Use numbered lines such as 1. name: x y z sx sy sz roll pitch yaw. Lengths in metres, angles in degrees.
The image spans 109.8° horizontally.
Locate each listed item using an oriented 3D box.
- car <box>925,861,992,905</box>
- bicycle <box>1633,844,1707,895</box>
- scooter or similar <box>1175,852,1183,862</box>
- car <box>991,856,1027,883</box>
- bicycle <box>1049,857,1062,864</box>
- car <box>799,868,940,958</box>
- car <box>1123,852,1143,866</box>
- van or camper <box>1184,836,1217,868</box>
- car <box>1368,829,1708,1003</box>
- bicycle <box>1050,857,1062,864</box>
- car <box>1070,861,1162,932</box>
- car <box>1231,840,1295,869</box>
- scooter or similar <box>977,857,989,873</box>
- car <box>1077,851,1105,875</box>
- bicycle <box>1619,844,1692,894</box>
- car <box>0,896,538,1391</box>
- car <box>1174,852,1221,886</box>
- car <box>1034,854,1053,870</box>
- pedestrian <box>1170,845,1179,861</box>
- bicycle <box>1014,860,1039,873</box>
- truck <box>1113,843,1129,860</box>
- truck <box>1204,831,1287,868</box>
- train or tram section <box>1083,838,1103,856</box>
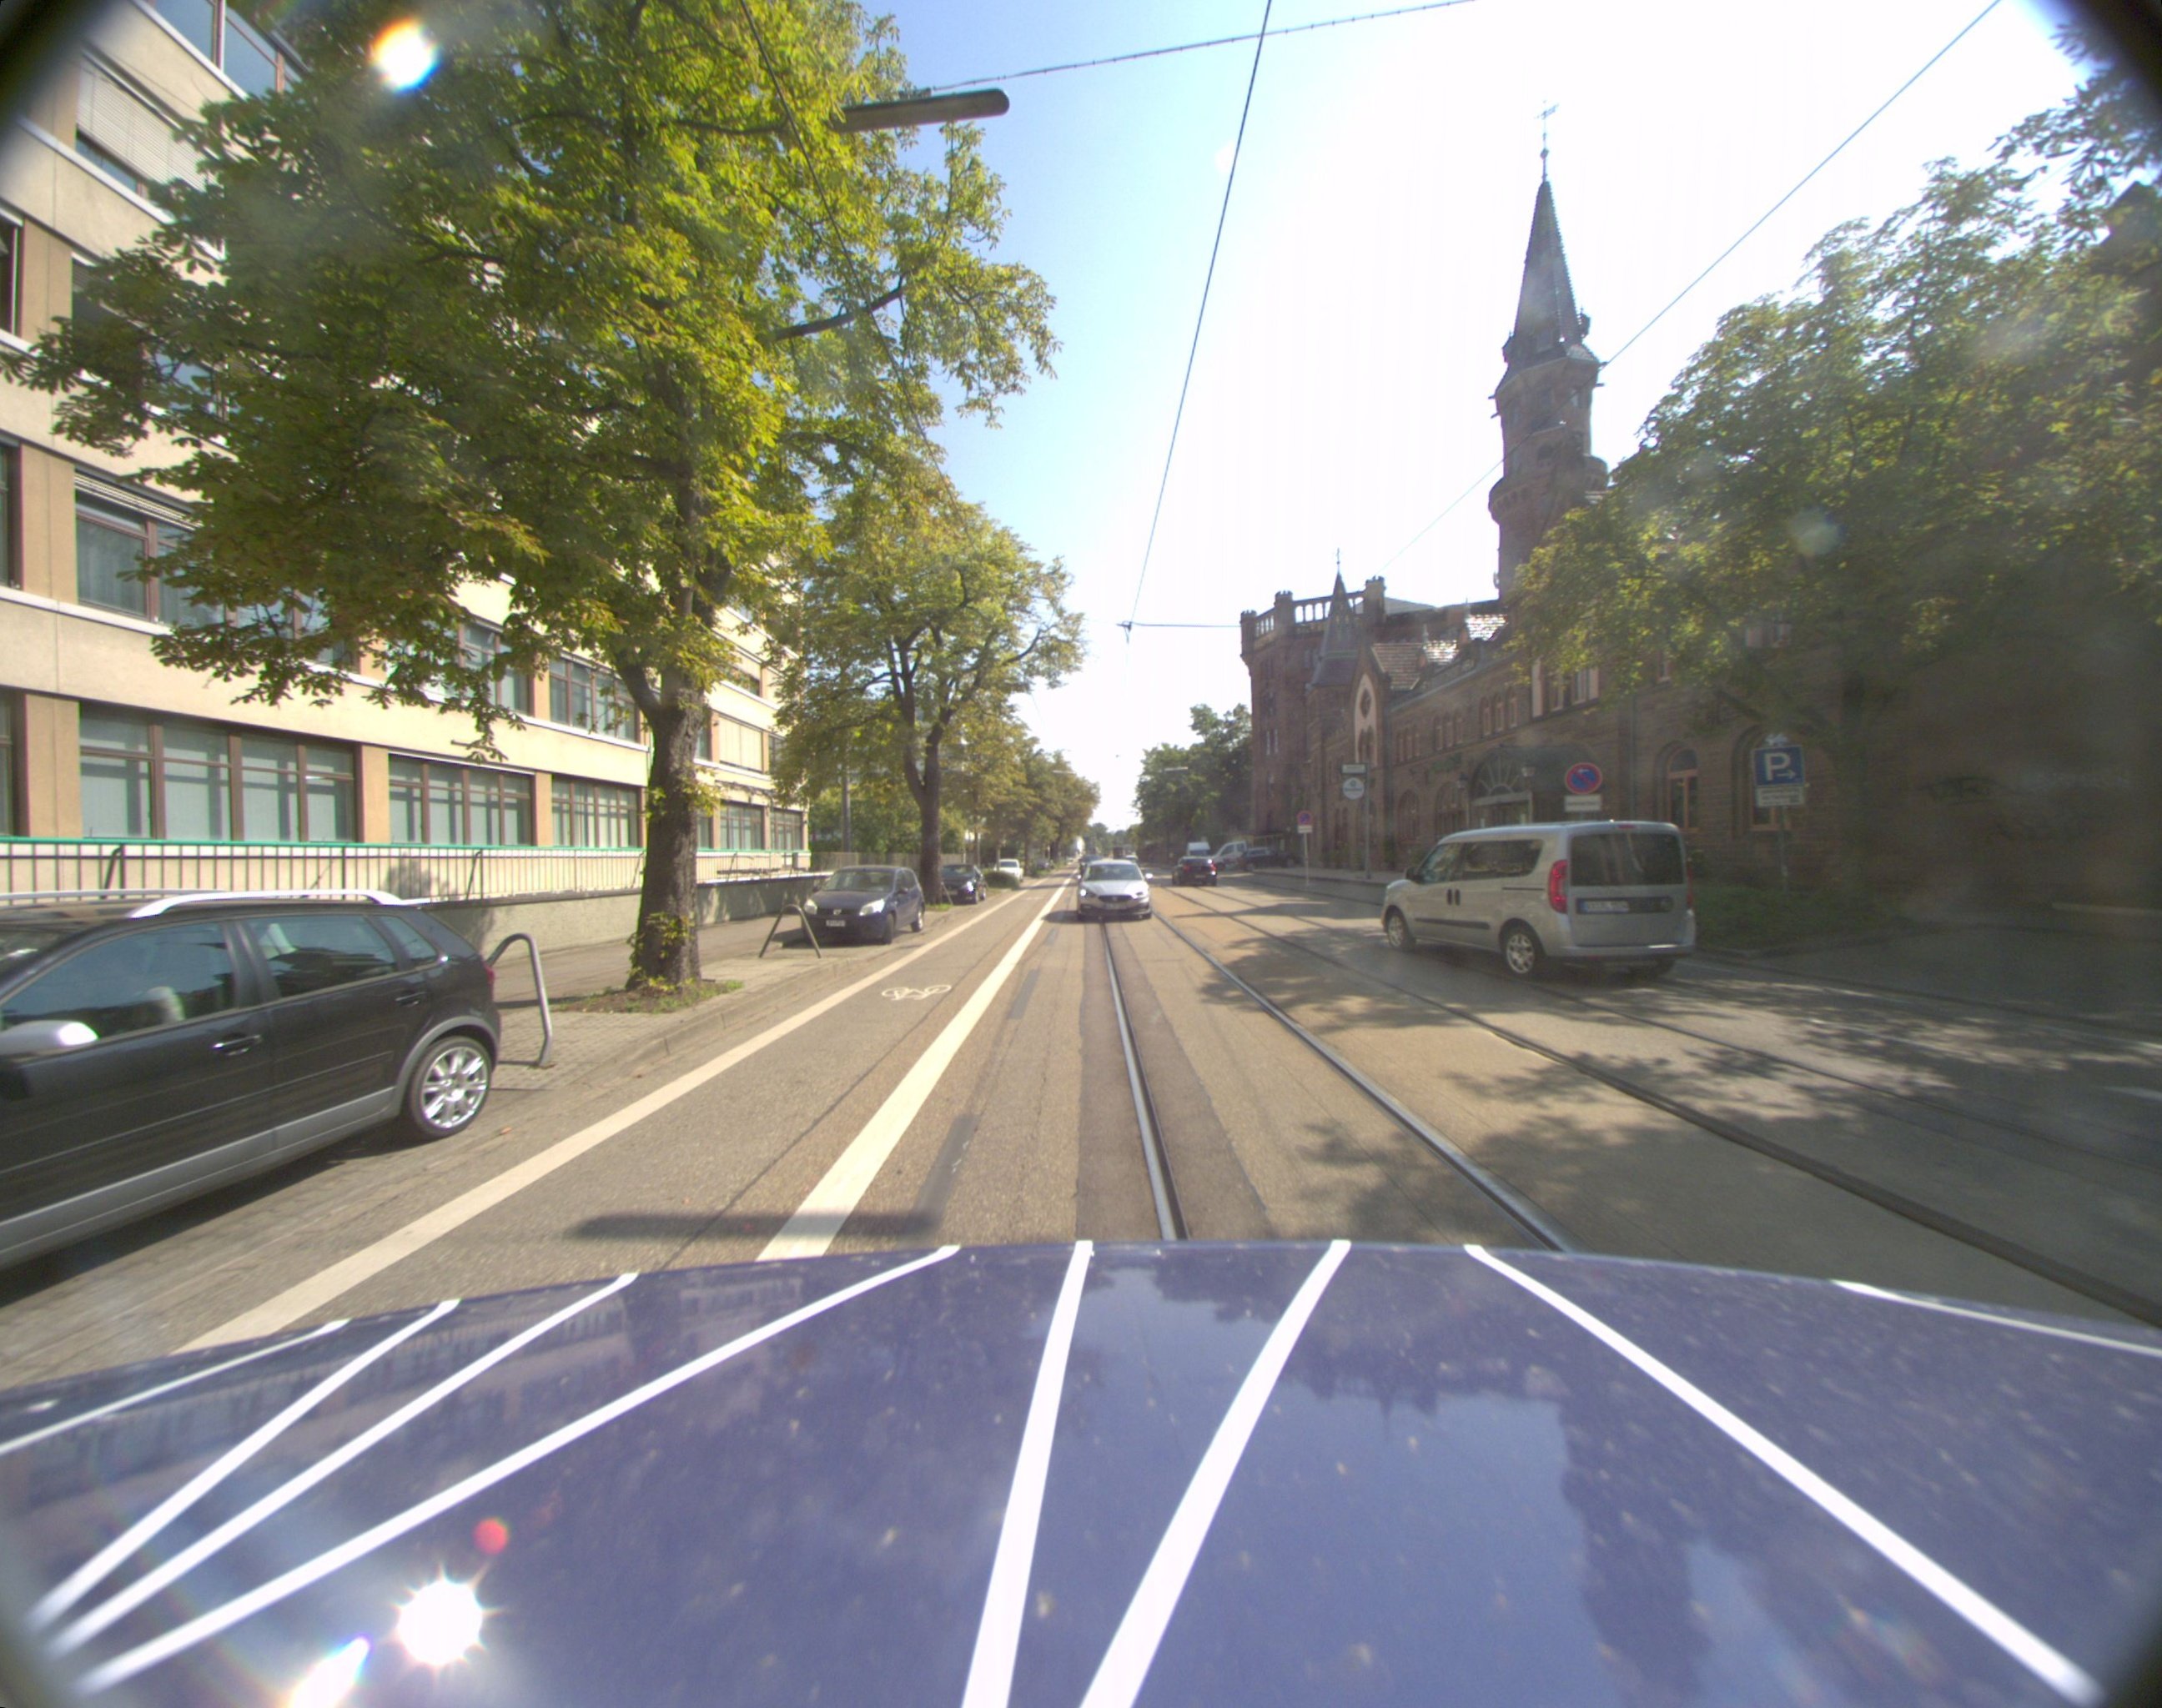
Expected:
1. car: -4.381 0.999 27.824 1.663 1.399 4.217 -1 0 1
2. bicycle: 14.080 0.357 18.173 1.455 1.087 0.399 -5 1 -3
3. scooter or similar: 11.354 0.352 87.764 0.422 1.172 1.315 -2 0 -15
4. car: -4.324 0.918 46.206 1.663 1.472 4.217 -1 1 1
5. bicycle: -3.675 0.909 108.224 1.775 1.043 0.540 -1 0 0
6. car: -4.330 1.144 16.273 1.747 1.547 4.216 -1 1 1
7. car: 5.593 0.521 82.197 1.851 1.483 4.867 -1 0 1
8. van or camper: 10.546 -0.177 67.598 2.118 2.660 5.955 -2 0 2
9. car: 5.661 0.651 10.105 1.752 1.786 3.997 -2 0 -7
10. bicycle: -3.657 0.903 110.704 1.775 1.043 0.540 -1 0 0
11. car: 0.750 0.923 18.557 1.928 1.465 4.817 -1 0 0
12. car: 13.329 0.050 55.739 4.146 1.733 2.000 -5 0 2
13. scooter or similar: -7.920 0.904 61.329 0.557 1.252 1.818 -2 0 3
14. car: 0.667 0.592 53.429 1.834 1.543 4.032 -2 0 0
15. bicycle: 14.083 0.356 18.624 1.455 1.087 0.399 -5 1 -3
16. car: -4.612 1.107 3.177 1.638 1.575 4.188 -2 0 0
17. car: 5.531 0.676 36.486 1.685 1.562 4.206 0 0 1
18. car: -3.798 0.812 77.083 1.760 1.506 4.608 0 0 -1
19. pedestrian: 11.606 -0.101 94.491 0.866 2.002 0.983 -2 1 -1
20. bicycle: -4.213 0.998 58.966 1.816 0.952 0.558 -2 1 0
21. truck: 11.182 -0.758 210.379 3.171 4.427 16.848 -2 0 7
22. truck: 13.474 -0.350 62.711 6.334 2.523 2.132 -5 -1 6
23. train or tram section: 3.045 -1.545 179.594 4.111 3.711 24.380 -2 0 2
